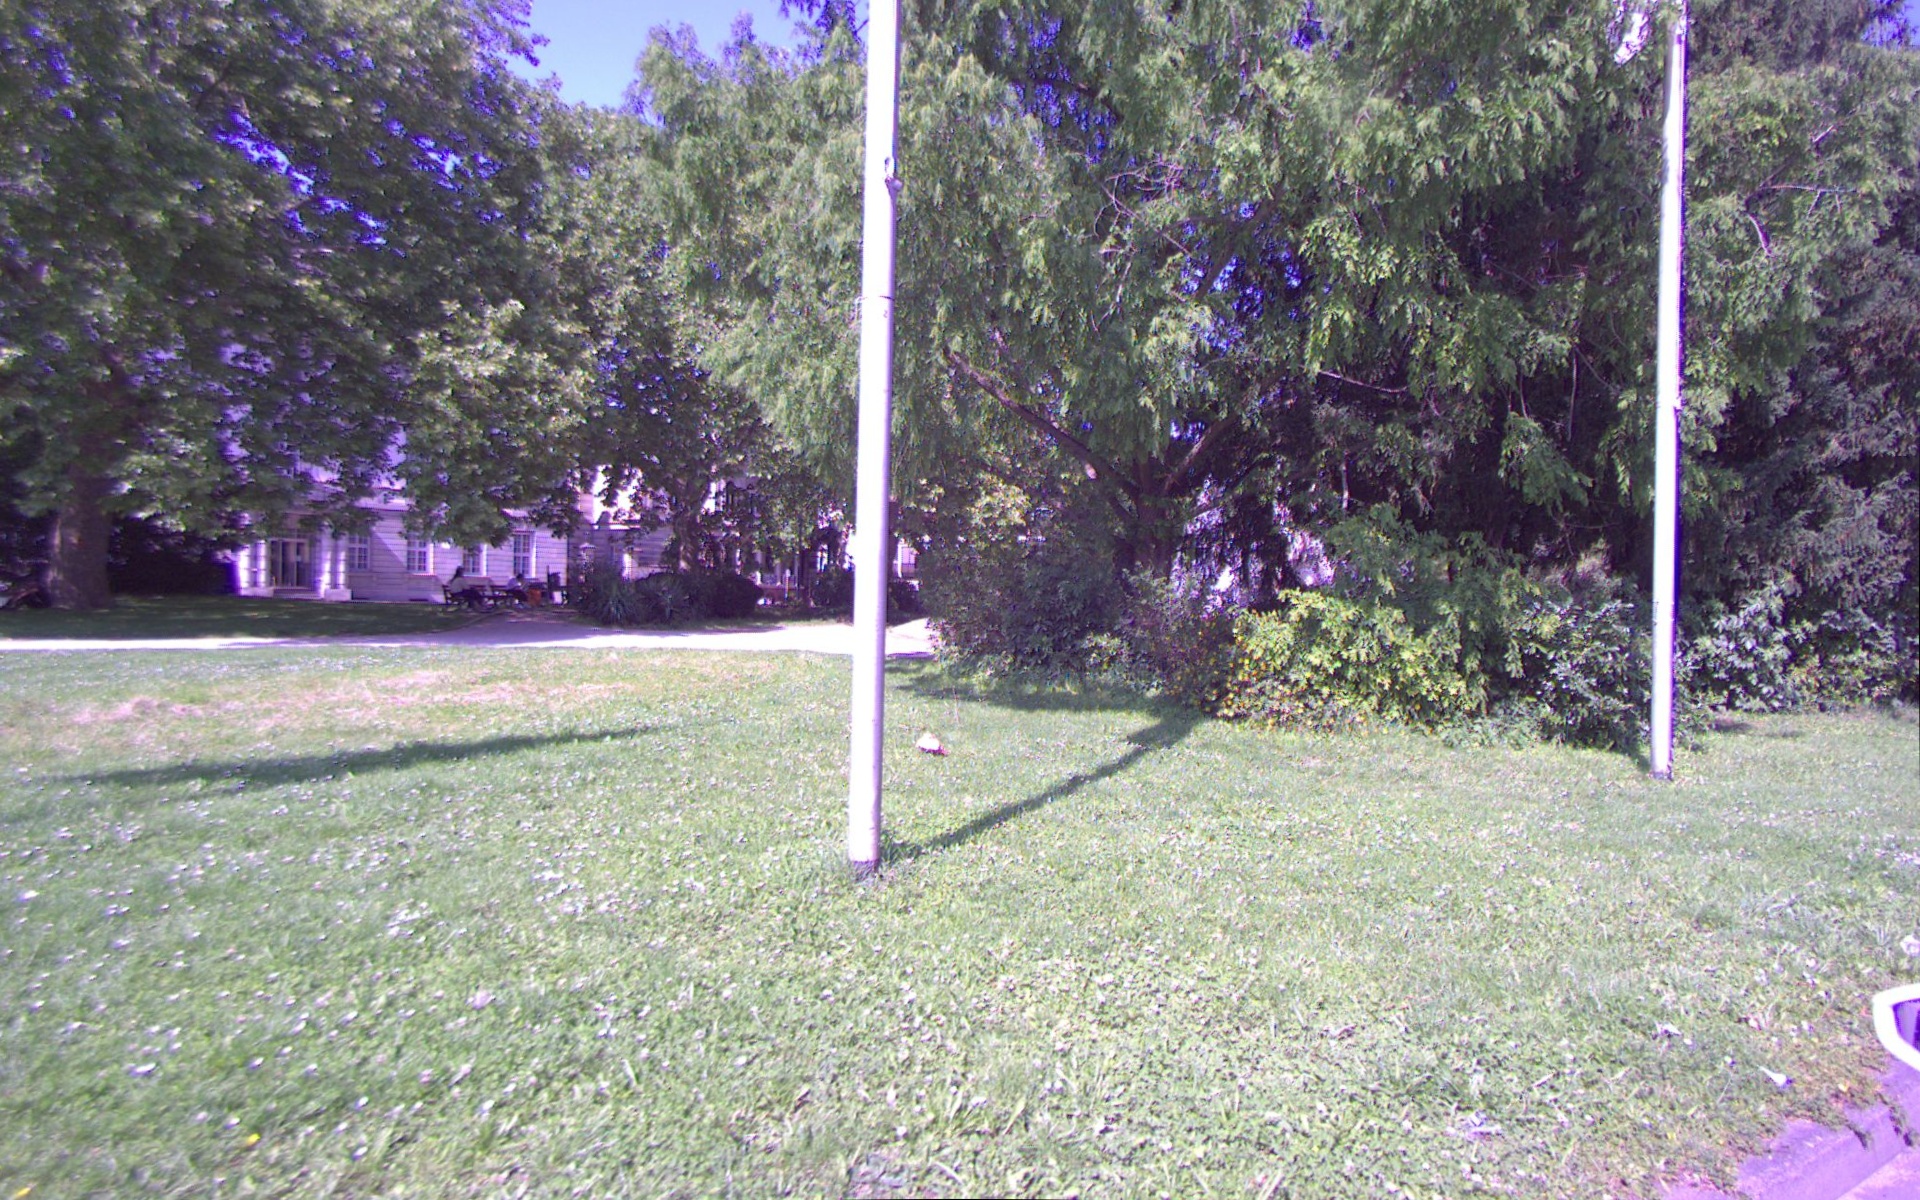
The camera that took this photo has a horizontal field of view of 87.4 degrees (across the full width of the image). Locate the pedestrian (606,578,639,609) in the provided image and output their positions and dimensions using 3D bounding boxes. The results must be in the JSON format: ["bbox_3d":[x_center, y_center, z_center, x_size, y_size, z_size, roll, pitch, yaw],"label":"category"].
[{"bbox_3d":[-14.097,-0.264,41.948,1.037,1.242,0.756,2,1,3],"label":"pedestrian"}]

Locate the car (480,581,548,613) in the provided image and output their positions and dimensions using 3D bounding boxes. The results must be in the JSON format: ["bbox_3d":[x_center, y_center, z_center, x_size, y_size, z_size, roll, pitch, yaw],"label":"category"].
[{"bbox_3d":[-27.380,-0.159,61.750,1.841,1.824,4.003,2,0,10],"label":"car"}]

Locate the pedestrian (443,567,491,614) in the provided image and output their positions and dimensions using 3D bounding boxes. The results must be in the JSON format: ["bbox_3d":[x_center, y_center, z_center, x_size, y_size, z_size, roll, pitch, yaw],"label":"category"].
[{"bbox_3d":[-13.787,-0.267,28.137,1.041,1.242,0.754,2,1,-15],"label":"pedestrian"}]

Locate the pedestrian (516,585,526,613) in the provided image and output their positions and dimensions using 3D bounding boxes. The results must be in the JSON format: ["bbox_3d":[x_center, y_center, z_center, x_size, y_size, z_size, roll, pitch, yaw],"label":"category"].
[{"bbox_3d":[-26.419,-0.056,60.460,0.485,1.646,0.376,2,0,-27],"label":"pedestrian"}]

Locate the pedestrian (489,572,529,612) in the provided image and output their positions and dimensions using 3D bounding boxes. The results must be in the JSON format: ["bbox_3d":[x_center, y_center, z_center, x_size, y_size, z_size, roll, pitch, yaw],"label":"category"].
[{"bbox_3d":[-14.789,-0.272,32.939,1.041,1.242,0.754,2,1,-15],"label":"pedestrian"}]

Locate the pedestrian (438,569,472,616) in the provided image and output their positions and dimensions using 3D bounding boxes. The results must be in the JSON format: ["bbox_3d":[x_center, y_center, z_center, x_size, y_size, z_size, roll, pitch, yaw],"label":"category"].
[{"bbox_3d":[-13.873,-0.202,27.608,0.659,1.242,0.754,2,1,-14],"label":"pedestrian"}]
